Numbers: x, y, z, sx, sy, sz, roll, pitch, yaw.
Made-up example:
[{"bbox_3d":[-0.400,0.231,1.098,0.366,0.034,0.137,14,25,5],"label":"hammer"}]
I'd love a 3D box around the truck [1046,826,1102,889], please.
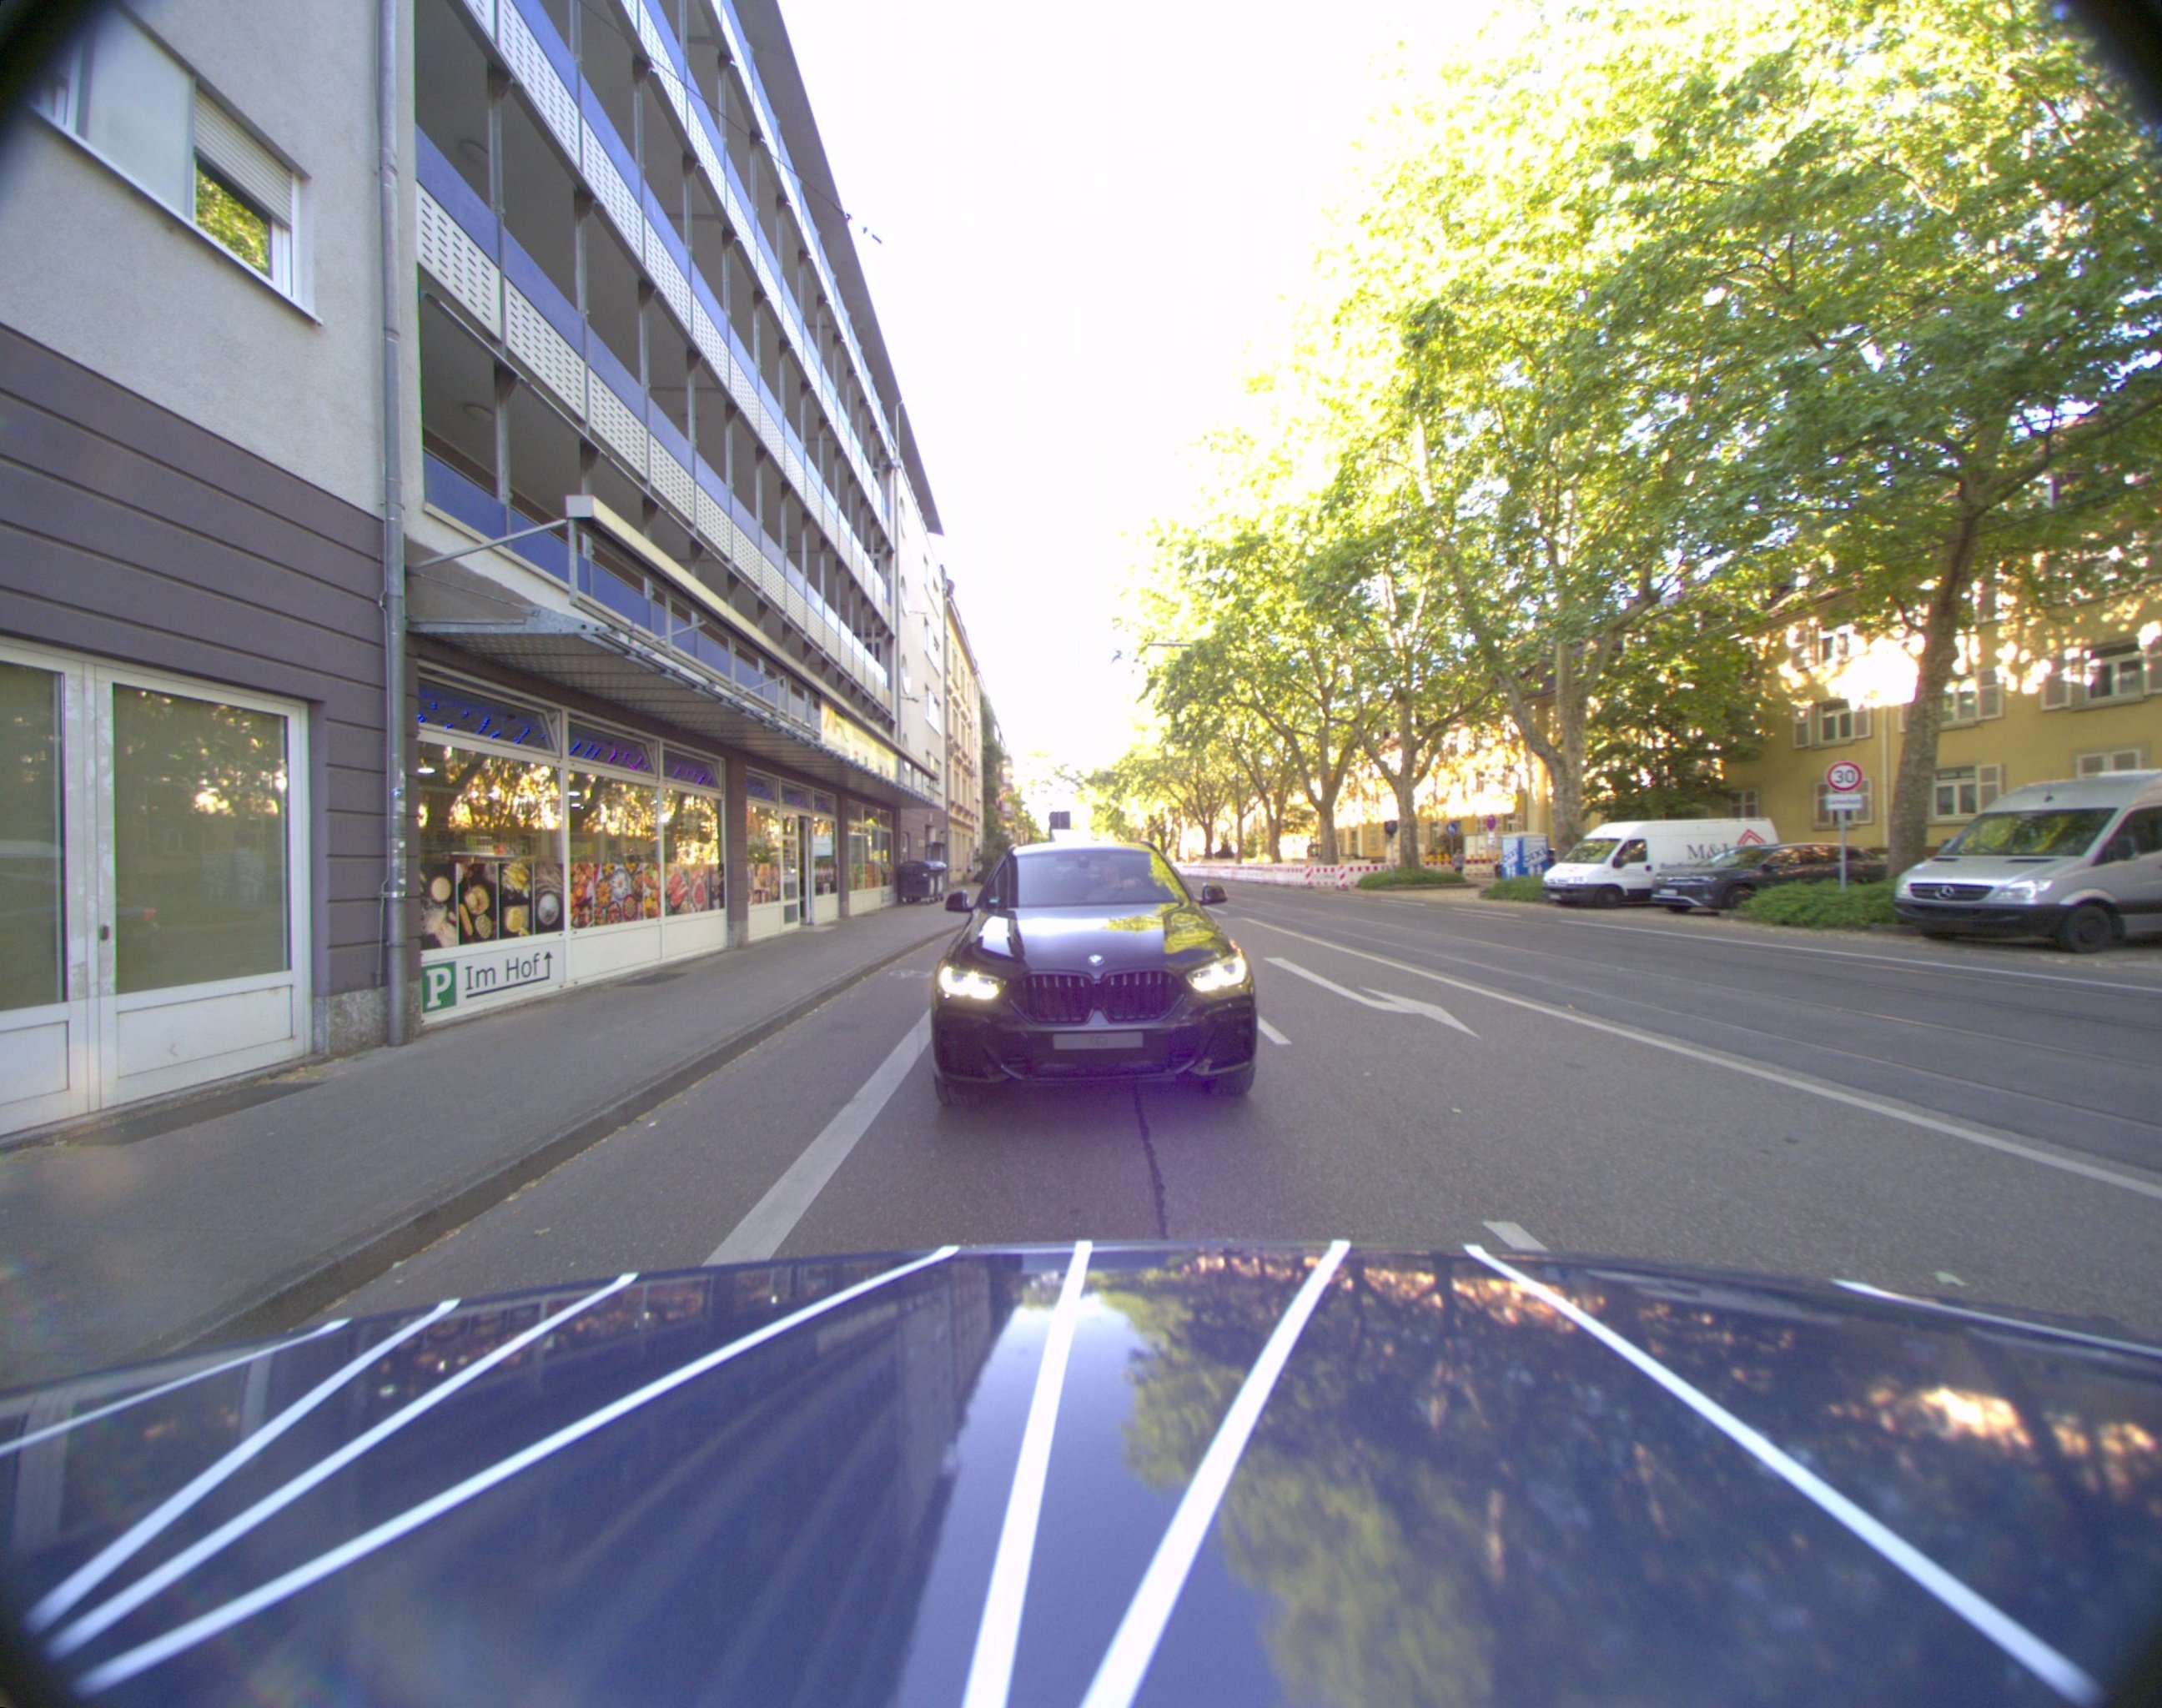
[{"bbox_3d":[-0.569,0.206,43.156,2.385,3.165,8.525,2,0,-5],"label":"truck"}]

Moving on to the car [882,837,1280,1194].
[{"bbox_3d":[0.025,0.827,6.058,1.943,1.733,4.475,-2,0,1],"label":"car"}]

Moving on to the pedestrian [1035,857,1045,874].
[{"bbox_3d":[-4.466,1.242,83.100,0.876,1.728,0.848,-3,1,1],"label":"pedestrian"}]

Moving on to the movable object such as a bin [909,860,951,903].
[{"bbox_3d":[-5.282,0.957,26.707,1.122,1.437,1.306,-1,0,4],"label":"movable object such as a bin"}]

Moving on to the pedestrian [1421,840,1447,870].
[{"bbox_3d":[24.026,0.100,51.746,1.098,2.002,1.235,-1,0,-4],"label":"pedestrian"}]

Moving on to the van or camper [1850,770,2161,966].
[{"bbox_3d":[16.094,0.130,11.799,6.127,2.661,2.229,-2,0,-2],"label":"van or camper"}]

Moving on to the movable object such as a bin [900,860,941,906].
[{"bbox_3d":[-5.222,0.937,24.812,1.069,1.438,1.296,-1,0,-1],"label":"movable object such as a bin"}]

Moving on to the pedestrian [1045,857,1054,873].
[{"bbox_3d":[-3.439,1.189,83.278,0.876,1.728,0.848,-3,1,1],"label":"pedestrian"}]

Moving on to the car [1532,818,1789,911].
[{"bbox_3d":[15.857,0.276,20.999,5.612,2.361,2.025,-1,0,-2],"label":"car"}]

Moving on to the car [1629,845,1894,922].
[{"bbox_3d":[15.945,0.659,17.972,4.575,1.621,1.969,-1,0,-2],"label":"car"}]

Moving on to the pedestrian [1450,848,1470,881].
[{"bbox_3d":[18.323,0.519,36.726,0.596,1.563,0.717,-1,0,-1],"label":"pedestrian"}]
